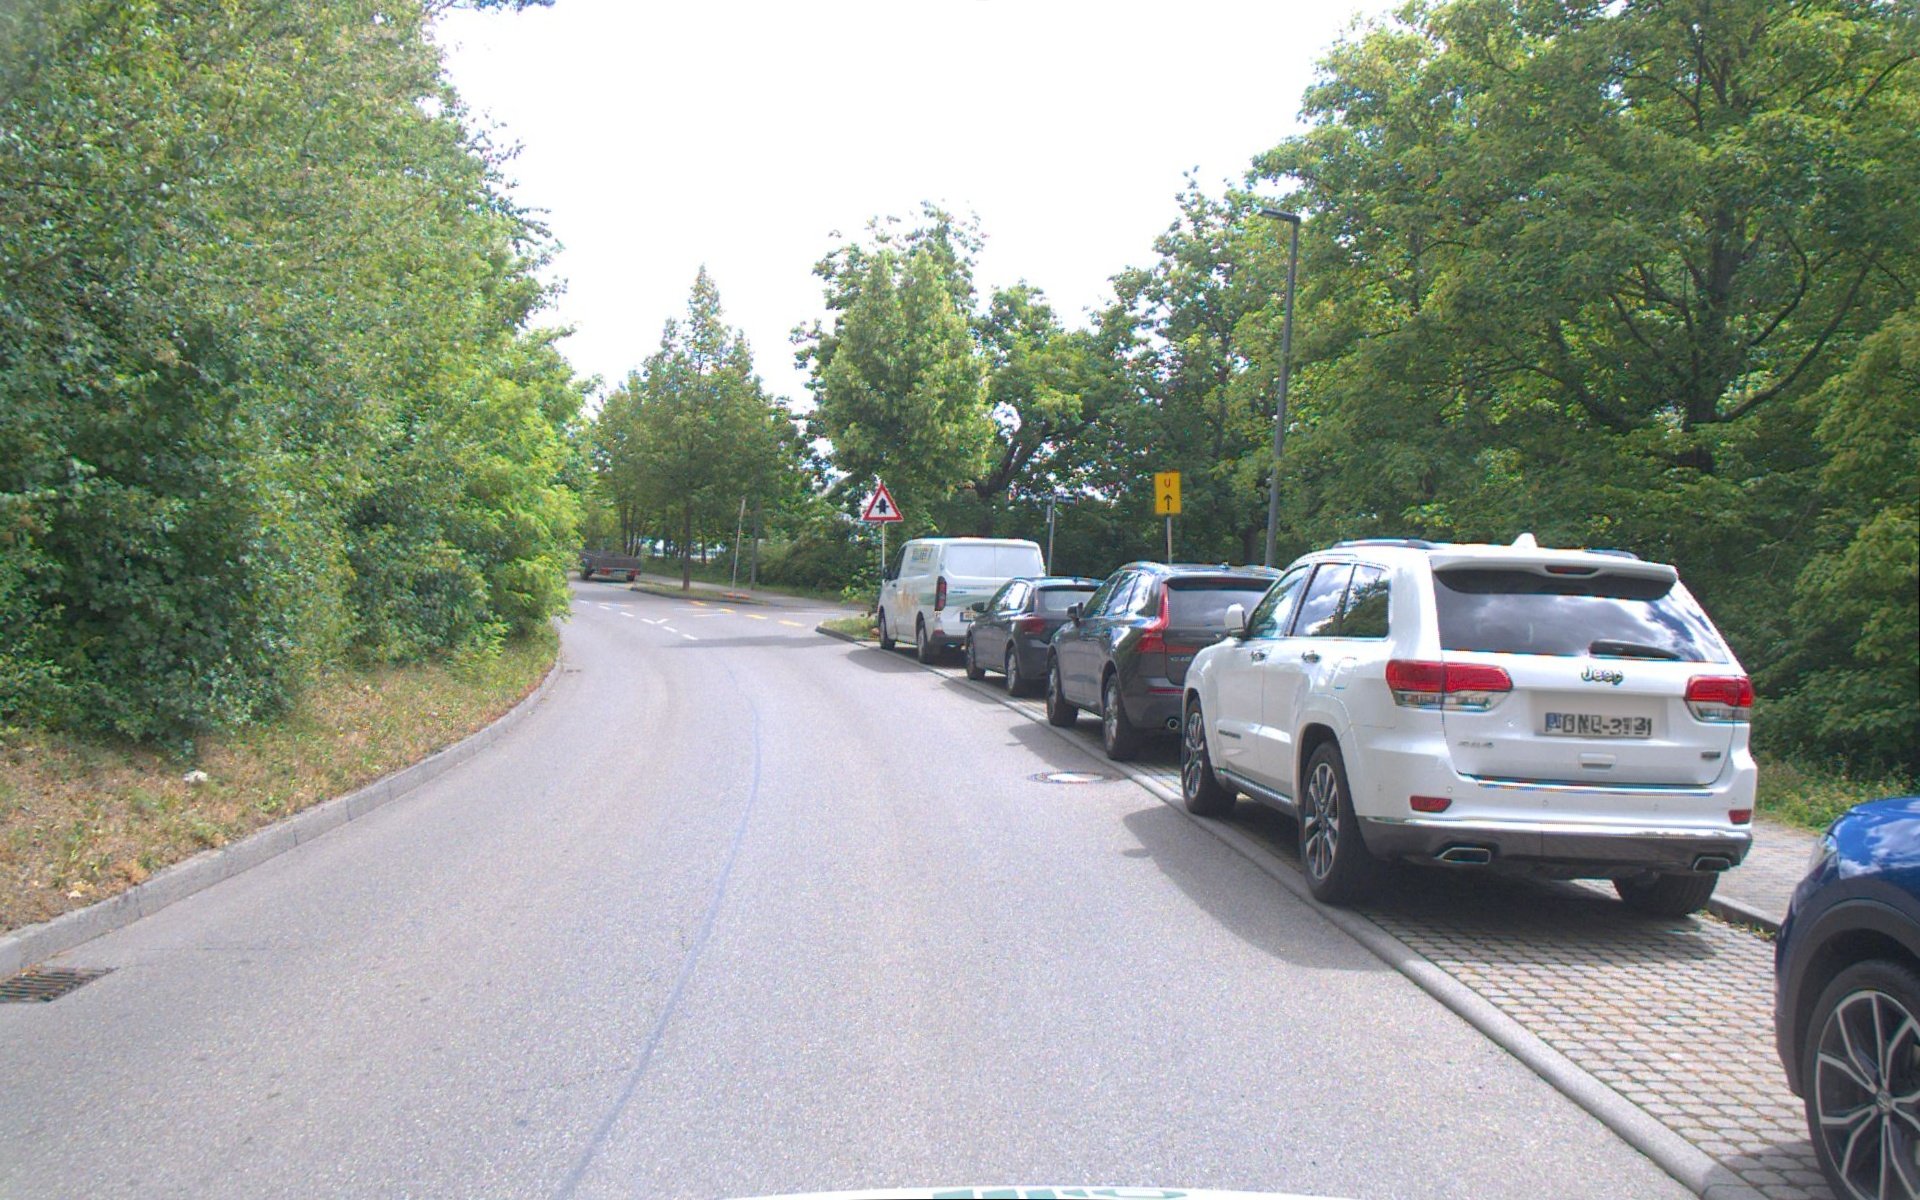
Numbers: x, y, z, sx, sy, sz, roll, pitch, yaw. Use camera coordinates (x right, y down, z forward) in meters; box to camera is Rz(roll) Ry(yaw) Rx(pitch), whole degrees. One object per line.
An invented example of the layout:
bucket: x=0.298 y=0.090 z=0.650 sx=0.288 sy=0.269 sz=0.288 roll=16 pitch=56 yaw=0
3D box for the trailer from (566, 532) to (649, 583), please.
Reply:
trailer: x=-12.515 y=-1.527 z=58.542 sx=1.765 sy=1.552 sz=3.962 roll=1 pitch=4 yaw=-30

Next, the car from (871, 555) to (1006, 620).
car: x=-0.626 y=-0.356 z=46.325 sx=3.473 sy=1.506 sz=1.778 roll=4 pitch=2 yaw=-11

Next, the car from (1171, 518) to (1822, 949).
car: x=2.567 y=0.529 z=9.261 sx=1.835 sy=1.718 sz=4.576 roll=4 pitch=1 yaw=-4

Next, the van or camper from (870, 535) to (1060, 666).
van or camper: x=-0.049 y=-0.071 z=27.699 sx=1.960 sy=1.953 sz=5.248 roll=1 pitch=2 yaw=-14

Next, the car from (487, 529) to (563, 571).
car: x=-17.543 y=-2.029 z=66.632 sx=1.754 sy=1.435 sz=3.954 roll=0 pitch=5 yaw=-34

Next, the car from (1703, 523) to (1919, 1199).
car: x=3.048 y=0.678 z=2.653 sx=1.677 sy=1.619 sz=3.997 roll=2 pitch=0 yaw=-4

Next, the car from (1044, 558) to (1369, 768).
car: x=2.086 y=0.446 z=15.324 sx=1.955 sy=1.654 sz=4.273 roll=0 pitch=2 yaw=-6

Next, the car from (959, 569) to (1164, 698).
car: x=1.225 y=0.370 z=21.834 sx=1.765 sy=1.489 sz=3.990 roll=2 pitch=1 yaw=-10
